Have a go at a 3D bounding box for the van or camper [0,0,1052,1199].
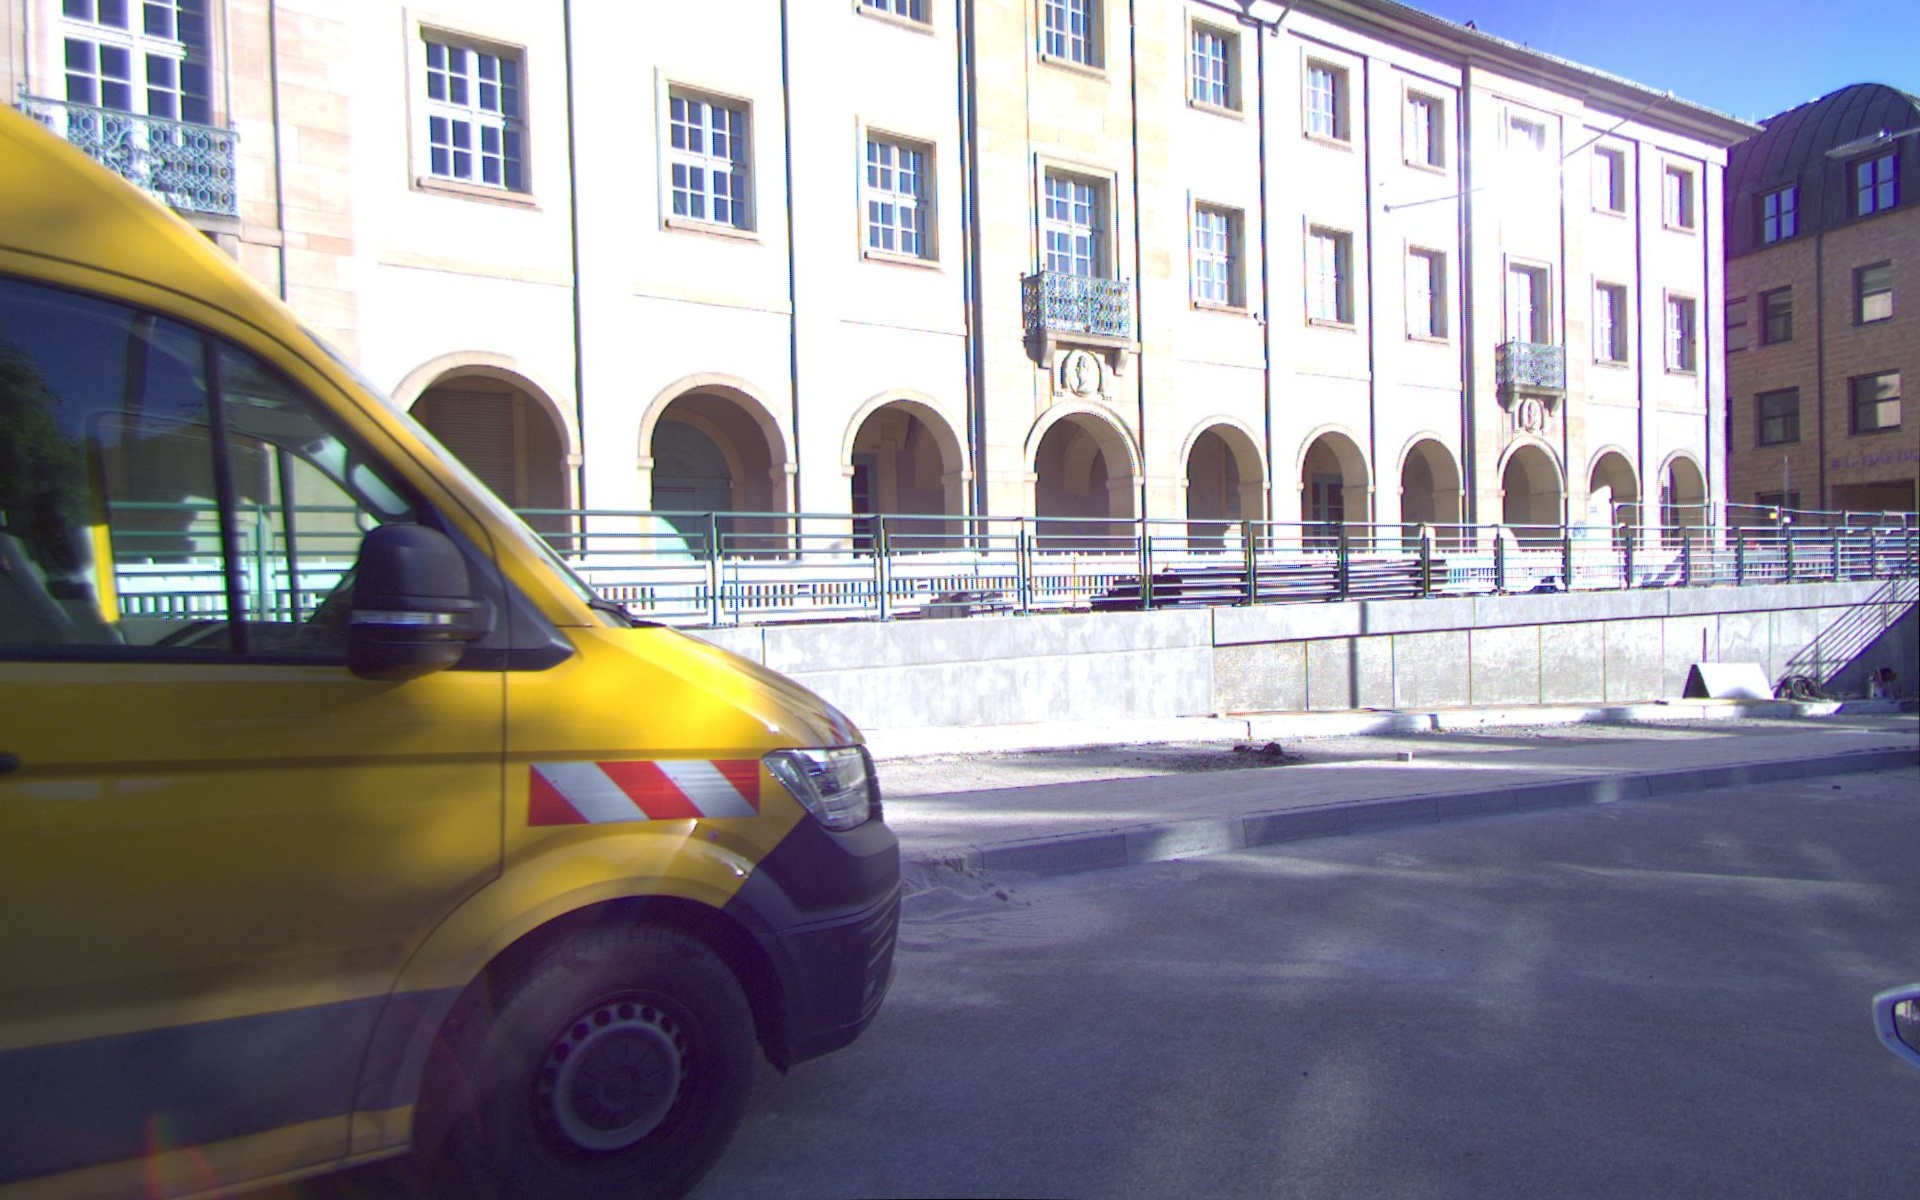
[{"bbox_3d":[-3.210,0.115,2.061,6.746,2.647,2.182,1,1,-31],"label":"van or camper"}]
